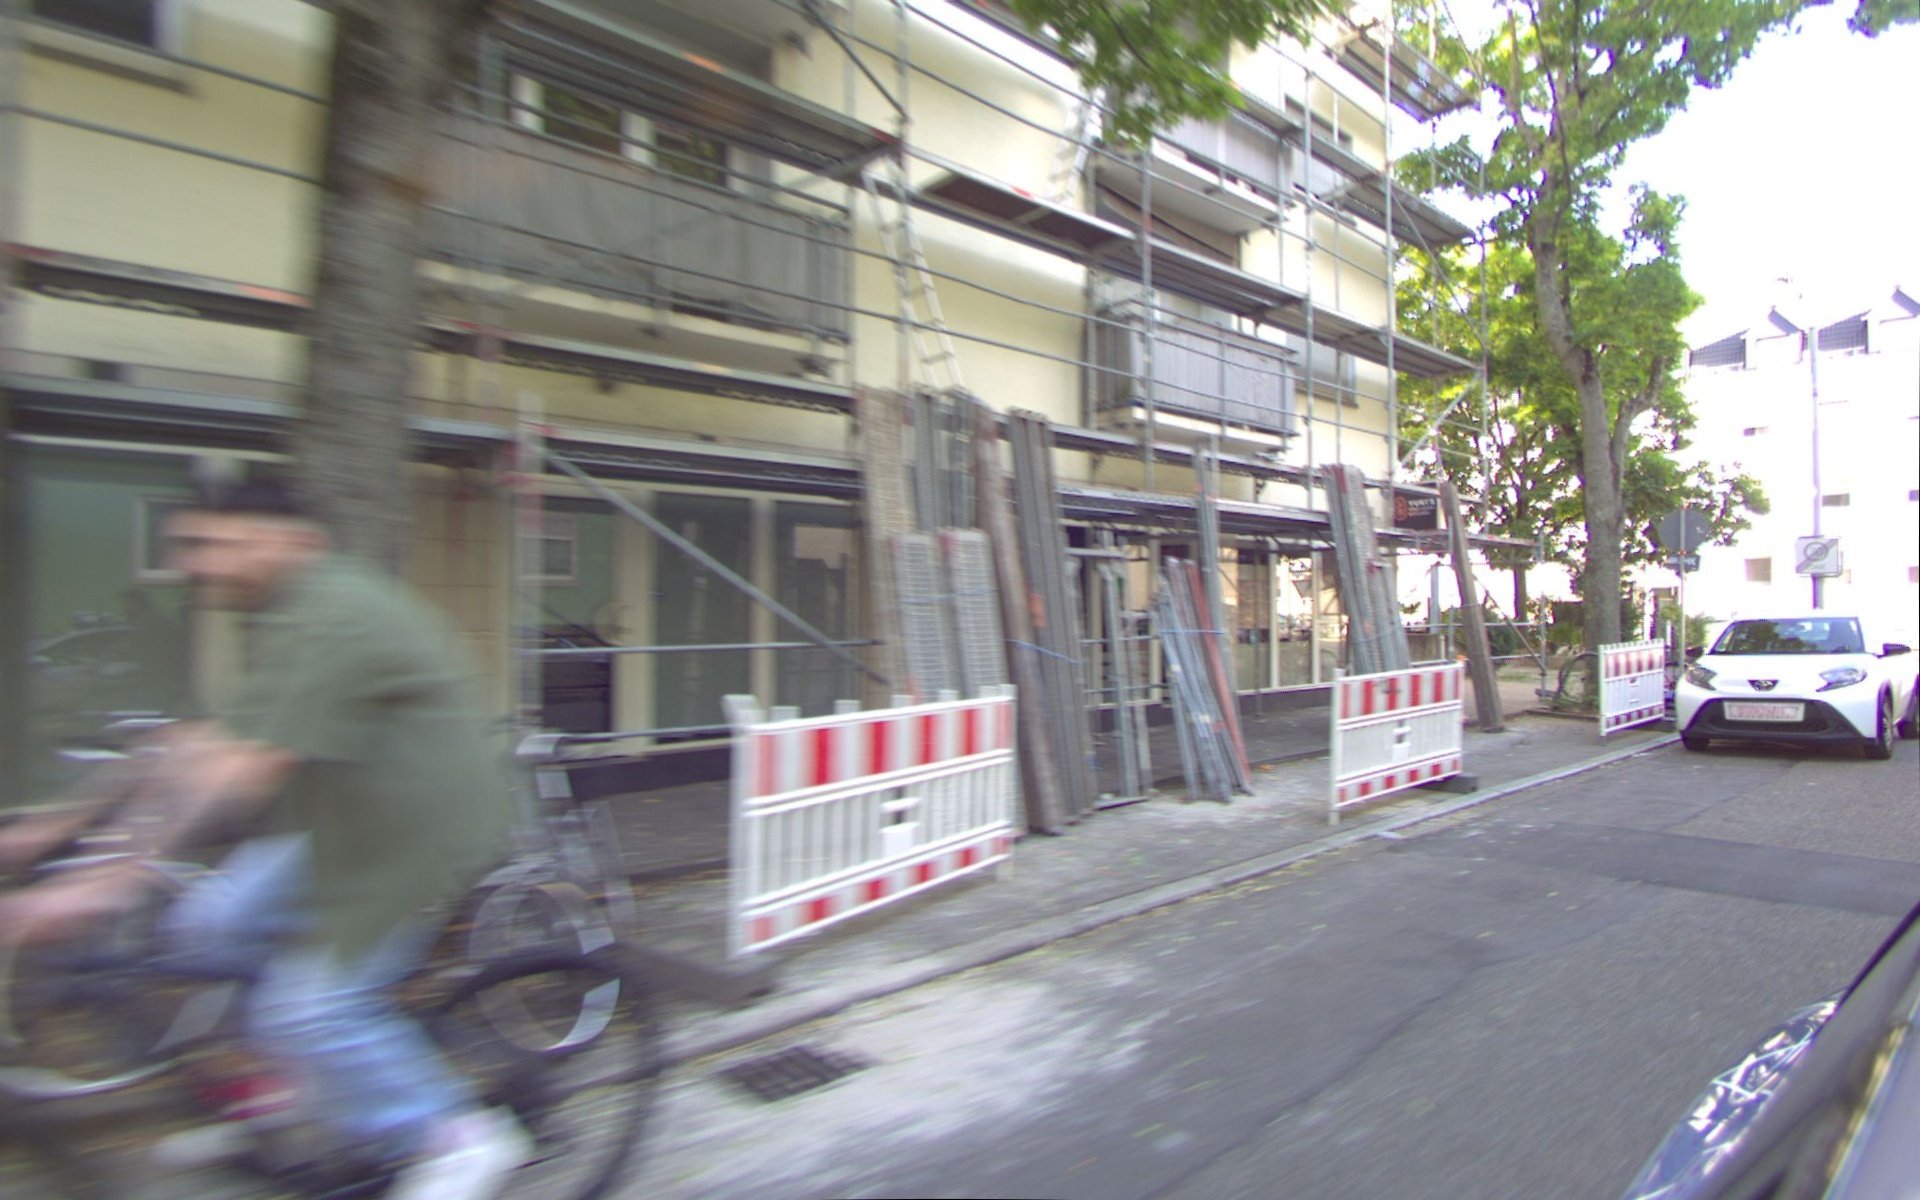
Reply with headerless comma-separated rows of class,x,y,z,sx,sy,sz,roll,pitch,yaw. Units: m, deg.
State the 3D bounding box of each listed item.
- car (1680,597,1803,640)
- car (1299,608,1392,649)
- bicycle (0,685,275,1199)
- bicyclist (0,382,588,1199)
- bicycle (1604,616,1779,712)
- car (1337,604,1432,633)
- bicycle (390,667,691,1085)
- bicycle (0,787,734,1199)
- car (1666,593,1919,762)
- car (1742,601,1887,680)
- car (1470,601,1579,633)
car,30.684,0.742,39.779,3.692,1.628,1.624,-2,-2,42
car,13.773,1.017,36.240,2.865,1.373,1.245,-1,0,39
bicycle,-2.807,0.921,3.354,0.732,1.136,1.984,0,-1,-30
bicyclist,-1.413,0.469,2.115,0.965,1.585,0.755,1,-3,-44
bicycle,10.436,0.873,14.522,1.960,1.169,0.742,3,2,36
car,20.653,0.893,49.301,3.985,1.369,1.526,-1,-1,43
bicycle,-1.524,0.890,4.041,0.732,1.136,1.932,0,-1,-11
bicycle,-1.456,1.083,2.043,1.827,1.073,0.739,-1,-2,-44
car,9.600,0.736,11.290,3.893,1.555,1.806,0,-2,-39
car,18.056,0.776,21.312,4.428,1.425,1.664,0,2,-41
car,25.157,0.752,45.156,3.985,1.369,1.526,-1,-1,43
